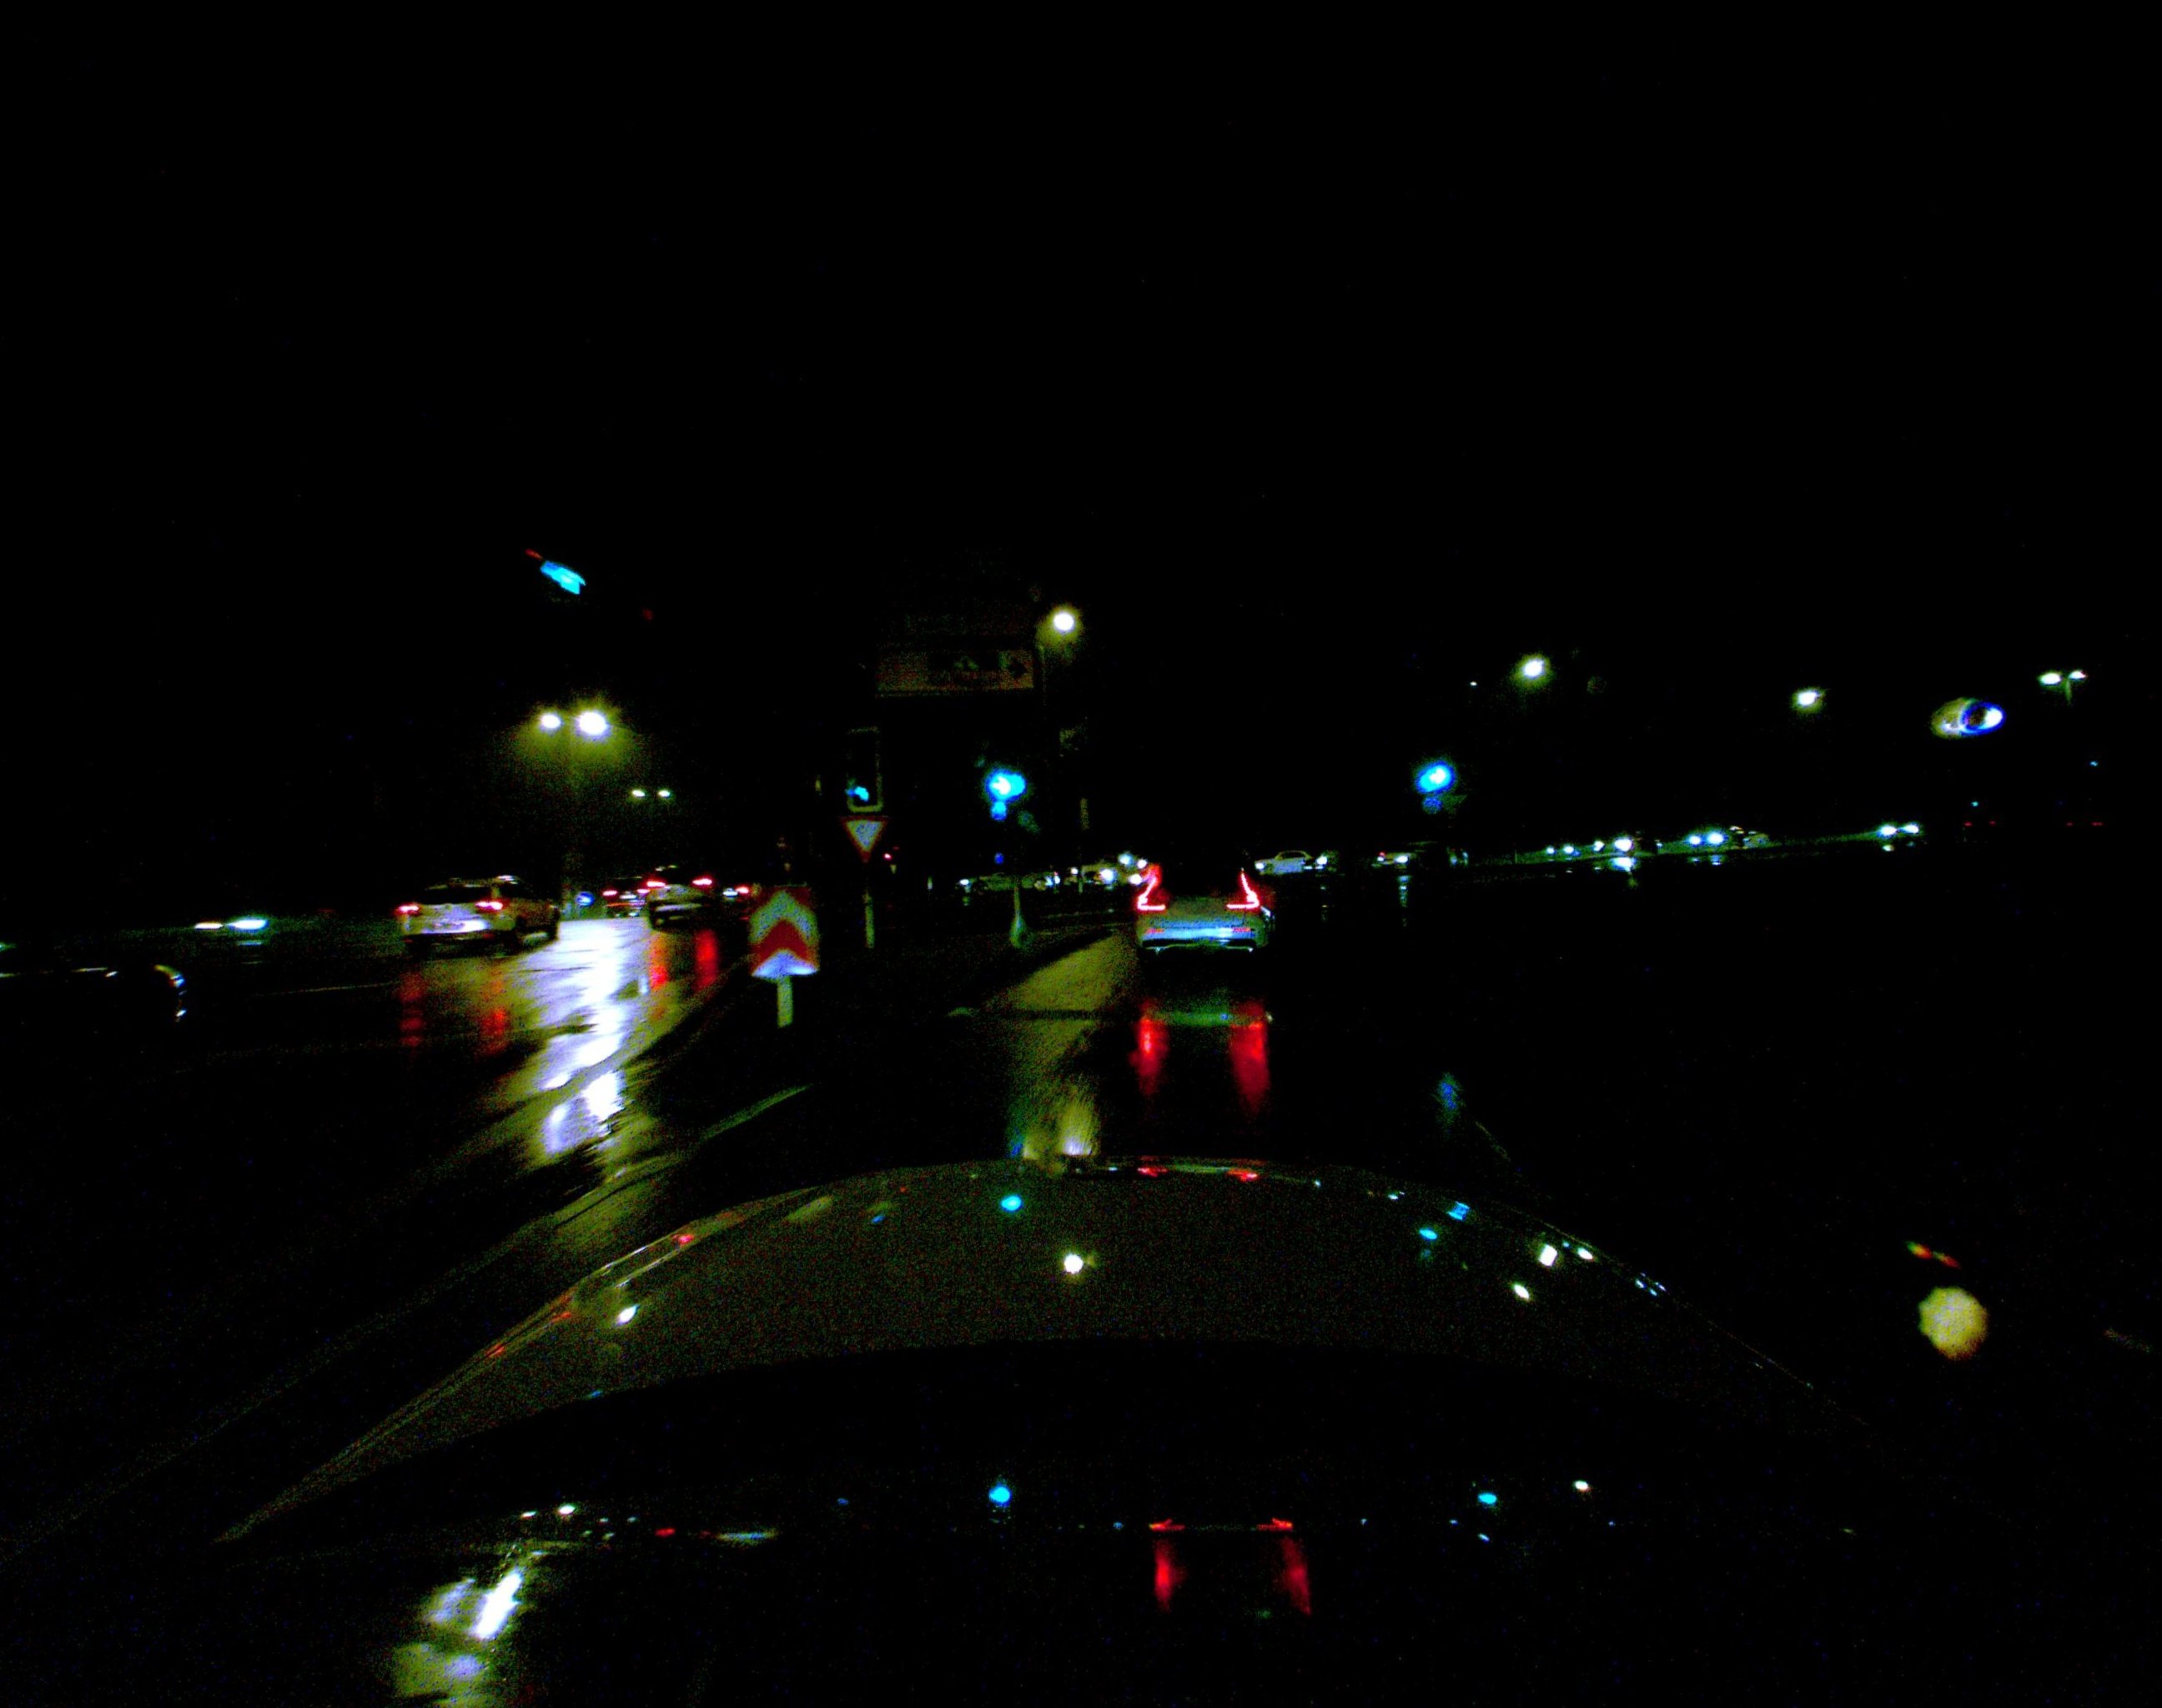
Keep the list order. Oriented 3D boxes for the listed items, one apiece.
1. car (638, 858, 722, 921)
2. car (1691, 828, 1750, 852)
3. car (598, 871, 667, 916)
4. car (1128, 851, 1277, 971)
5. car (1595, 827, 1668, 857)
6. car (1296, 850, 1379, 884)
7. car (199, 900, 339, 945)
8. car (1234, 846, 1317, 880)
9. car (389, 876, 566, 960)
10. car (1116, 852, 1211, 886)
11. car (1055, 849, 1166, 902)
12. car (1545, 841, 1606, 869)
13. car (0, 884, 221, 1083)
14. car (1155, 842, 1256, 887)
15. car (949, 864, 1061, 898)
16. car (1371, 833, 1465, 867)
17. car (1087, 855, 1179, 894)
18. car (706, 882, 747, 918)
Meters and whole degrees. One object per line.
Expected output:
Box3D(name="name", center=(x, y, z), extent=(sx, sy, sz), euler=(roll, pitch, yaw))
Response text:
Box3D(name="car", center=(-11.239, 0.965, 23.038), extent=(1.858, 1.592, 3.992), euler=(-1, -1, -22))
Box3D(name="car", center=(47.090, -0.997, 59.949), extent=(4.498, 1.666, 1.788), euler=(0, -1, -28))
Box3D(name="car", center=(-18.176, 1.577, 33.151), extent=(1.917, 1.658, 3.957), euler=(-2, -1, -21))
Box3D(name="car", center=(1.998, 0.709, 12.279), extent=(1.783, 1.452, 4.285), euler=(-1, 0, 14))
Box3D(name="car", center=(33.318, -0.741, 49.270), extent=(4.316, 1.578, 1.802), euler=(-2, -2, -28))
Box3D(name="car", center=(13.375, 0.691, 42.505), extent=(3.985, 1.666, 1.788), euler=(-1, -2, -27))
Box3D(name="car", center=(-32.460, 2.710, 32.743), extent=(1.828, 1.474, 4.029), euler=(0, 0, -6))
Box3D(name="car", center=(10.724, 0.505, 44.888), extent=(4.259, 1.799, 1.788), euler=(-1, -2, -27))
Box3D(name="car", center=(-12.466, 1.221, 17.161), extent=(1.742, 1.436, 4.263), euler=(-2, 0, -19))
Box3D(name="car", center=(3.807, 0.693, 37.568), extent=(4.062, 1.487, 1.705), euler=(-1, -1, -23))
Box3D(name="car", center=(1.605, 1.116, 44.102), extent=(5.619, 2.710, 2.237), euler=(-1, -2, -26))
Box3D(name="car", center=(34.843, 0.075, 57.364), extent=(4.008, 1.849, 1.813), euler=(0, -1, -27))
Box3D(name="car", center=(-8.610, 0.963, 5.487), extent=(1.832, 1.408, 4.103), euler=(-2, -1, -12))
Box3D(name="car", center=(5.329, 0.444, 34.851), extent=(3.908, 1.725, 1.751), euler=(-2, 0, -25))
Box3D(name="car", center=(-3.489, 1.215, 37.582), extent=(4.812, 1.427, 1.750), euler=(-1, -2, -26))
Box3D(name="car", center=(16.536, -0.220, 39.960), extent=(4.420, 1.483, 1.768), euler=(-2, 2, -26))
Box3D(name="car", center=(2.606, 1.002, 40.570), extent=(4.293, 1.848, 1.750), euler=(-1, -2, -27))
Box3D(name="car", center=(-18.490, 2.329, 42.406), extent=(1.837, 1.653, 4.442), euler=(0, 0, -25))
